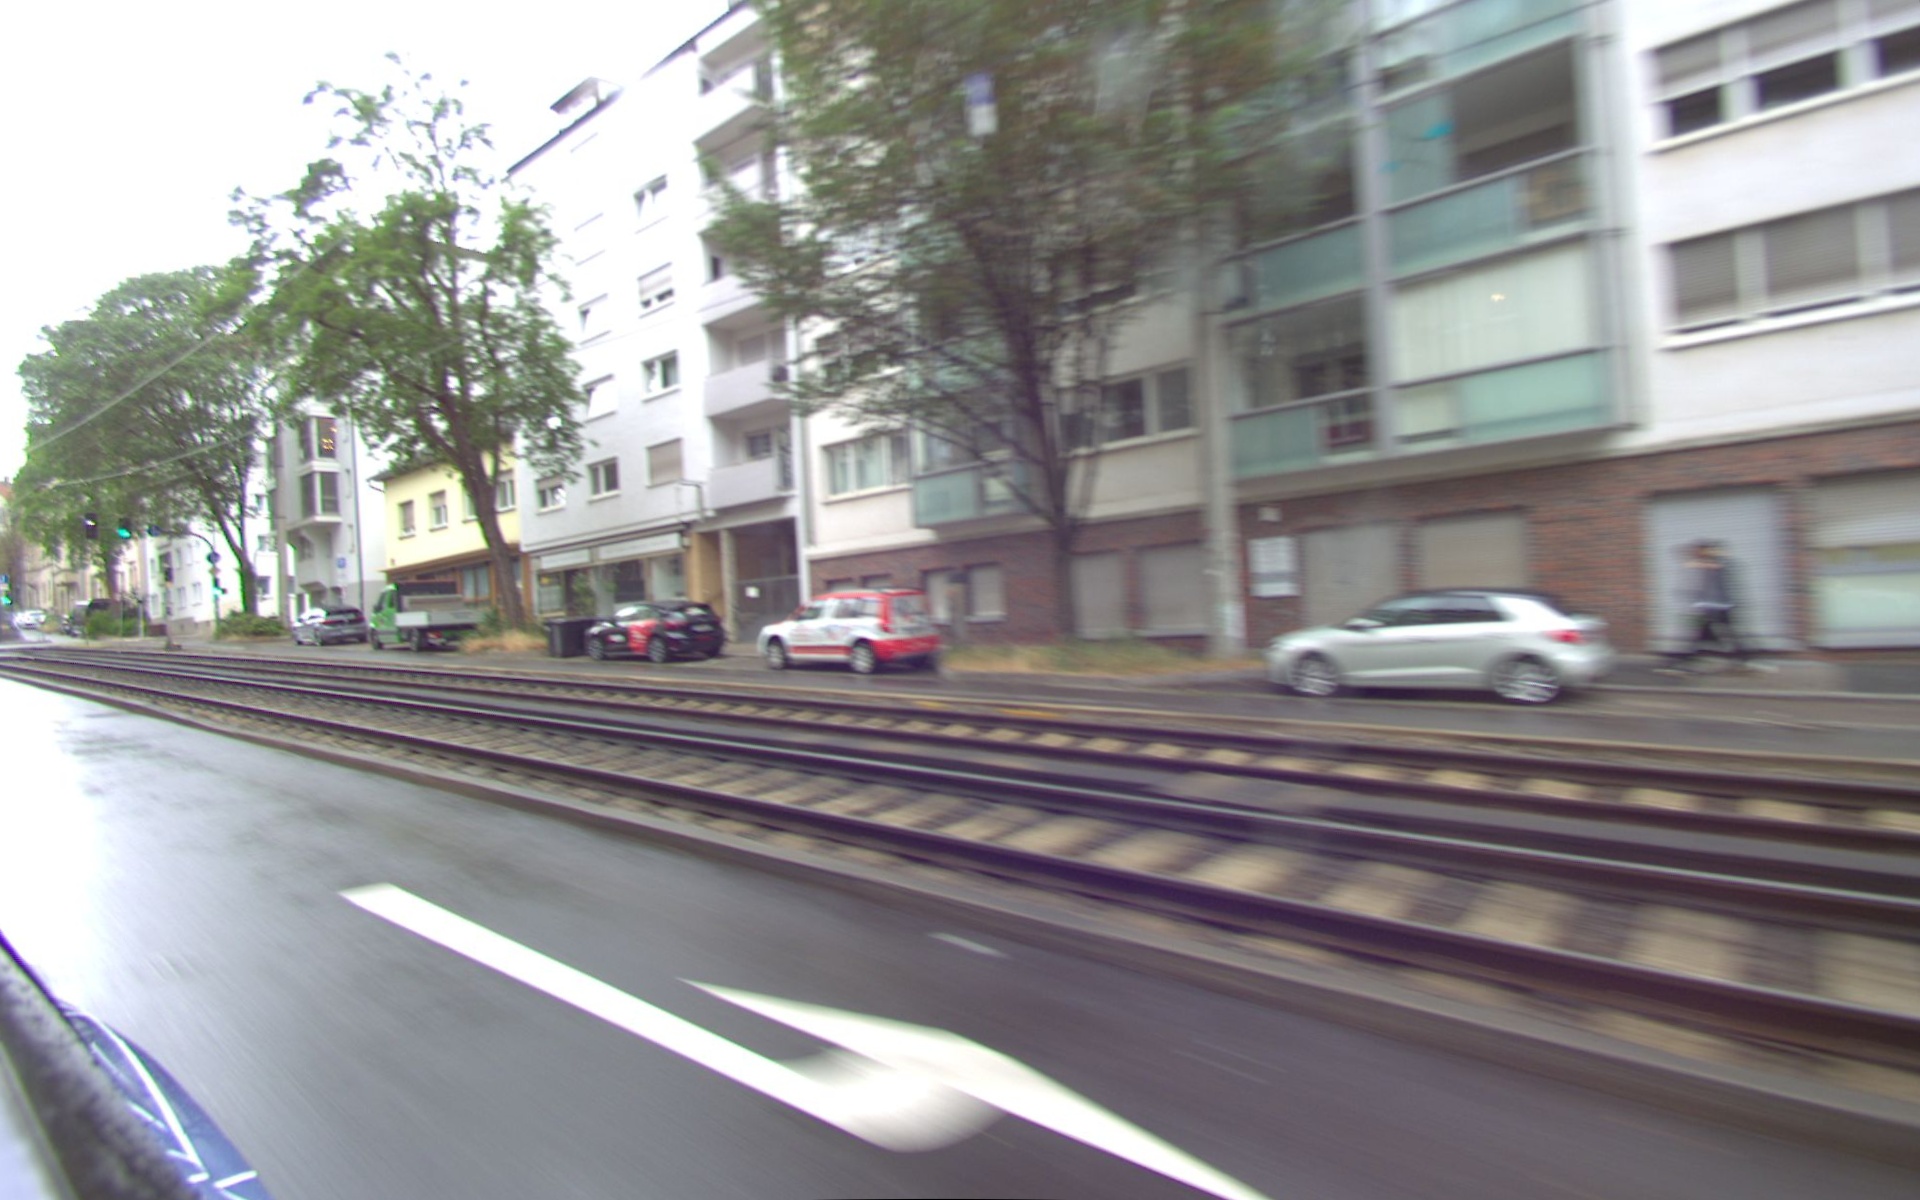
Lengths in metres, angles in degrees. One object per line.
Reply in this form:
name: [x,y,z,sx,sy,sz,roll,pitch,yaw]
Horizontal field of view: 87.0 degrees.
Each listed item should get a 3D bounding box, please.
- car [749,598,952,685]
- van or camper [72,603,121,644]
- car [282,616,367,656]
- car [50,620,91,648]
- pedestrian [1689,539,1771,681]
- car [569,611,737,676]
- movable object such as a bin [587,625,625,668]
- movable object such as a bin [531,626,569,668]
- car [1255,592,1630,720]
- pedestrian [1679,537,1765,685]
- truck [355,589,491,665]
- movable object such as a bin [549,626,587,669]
car: [-2.302,0.801,20.647,4.156,1.581,1.758,-2,-1,41]
van or camper: [-62.394,1.669,73.092,5.211,2.819,1.972,0,-1,42]
car: [-26.030,1.469,41.409,4.358,1.471,1.687,-2,1,41]
car: [-69.558,2.638,79.130,3.999,2.029,1.972,-2,-1,42]
pedestrian: [10.031,0.128,13.182,0.782,1.785,0.666,-2,0,41]
car: [-7.771,1.066,25.400,4.465,1.451,1.887,-2,-1,40]
movable object such as a bin: [-9.683,1.269,27.699,0.670,1.130,0.718,-2,-1,35]
movable object such as a bin: [-11.294,1.292,27.881,0.670,1.130,0.718,-2,-1,35]
car: [6.195,0.663,13.266,4.128,1.345,1.685,-2,2,41]
pedestrian: [9.542,0.132,12.669,0.782,1.785,0.666,-2,0,41]
truck: [-18.491,0.850,34.680,6.352,2.363,2.168,0,0,43]
movable object such as a bin: [-10.677,1.282,27.546,0.670,1.130,0.718,-2,-1,35]
